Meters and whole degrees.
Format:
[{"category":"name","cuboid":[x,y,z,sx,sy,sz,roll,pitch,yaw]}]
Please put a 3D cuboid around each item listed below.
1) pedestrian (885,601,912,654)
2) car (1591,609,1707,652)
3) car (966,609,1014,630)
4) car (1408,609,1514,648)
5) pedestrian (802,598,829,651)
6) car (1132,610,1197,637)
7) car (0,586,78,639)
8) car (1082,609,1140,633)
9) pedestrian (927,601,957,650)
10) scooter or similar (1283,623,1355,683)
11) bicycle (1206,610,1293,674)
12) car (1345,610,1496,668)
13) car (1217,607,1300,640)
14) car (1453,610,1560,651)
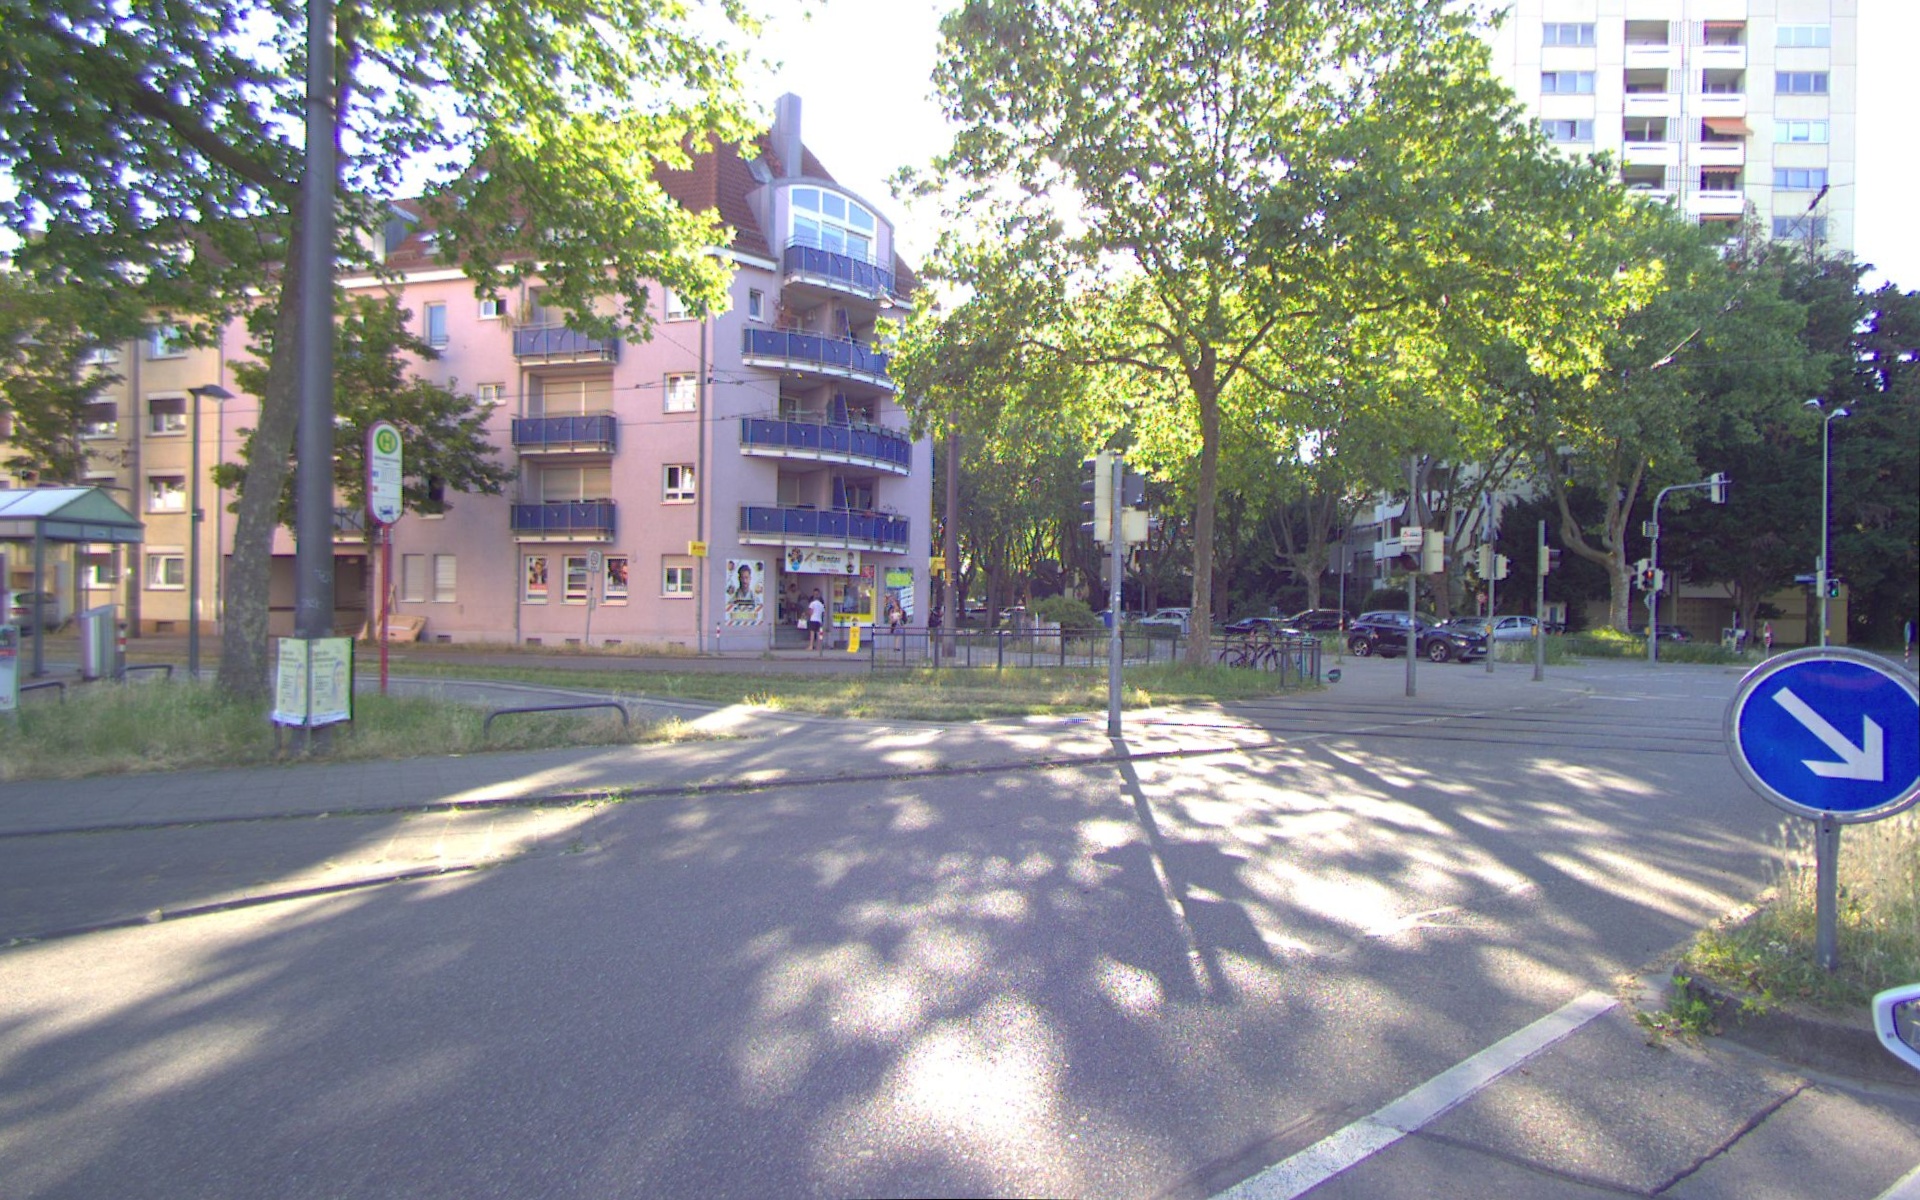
[{"category":"pedestrian","cuboid":[-2.005,0.894,32.772,0.615,1.689,0.544,2,0,-43]},{"category":"car","cuboid":[31.620,1.358,46.204,1.971,1.798,3.979,2,0,-22]},{"category":"car","cuboid":[2.606,1.670,86.368,3.919,1.617,1.739,2,0,9]},{"category":"car","cuboid":[22.838,1.298,45.896,3.921,1.617,1.738,2,0,0]},{"category":"pedestrian","cuboid":[-4.710,0.802,32.697,0.610,1.689,0.549,2,0,38]},{"category":"car","cuboid":[13.400,1.553,65.986,3.921,1.617,1.738,2,0,0]},{"category":"car","cuboid":[-33.480,0.398,35.220,4.029,1.728,1.940,2,0,16]},{"category":"car","cuboid":[11.082,1.524,73.900,3.921,1.617,1.738,2,0,0]},{"category":"pedestrian","cuboid":[-0.629,0.896,35.486,0.907,1.689,0.620,2,0,12]},{"category":"scooter or similar","cuboid":[7.920,1.163,22.206,1.412,1.255,0.414,2,0,9]},{"category":"bicycle","cuboid":[6.398,0.909,22.248,1.811,1.324,0.382,2,0,34]},{"category":"car","cuboid":[14.320,1.168,31.438,1.722,1.617,3.959,2,0,-36]},{"category":"car","cuboid":[15.911,1.242,53.684,3.921,1.617,1.738,2,0,0]},{"category":"car","cuboid":[23.882,1.310,43.984,3.732,1.617,1.738,2,0,0]}]
